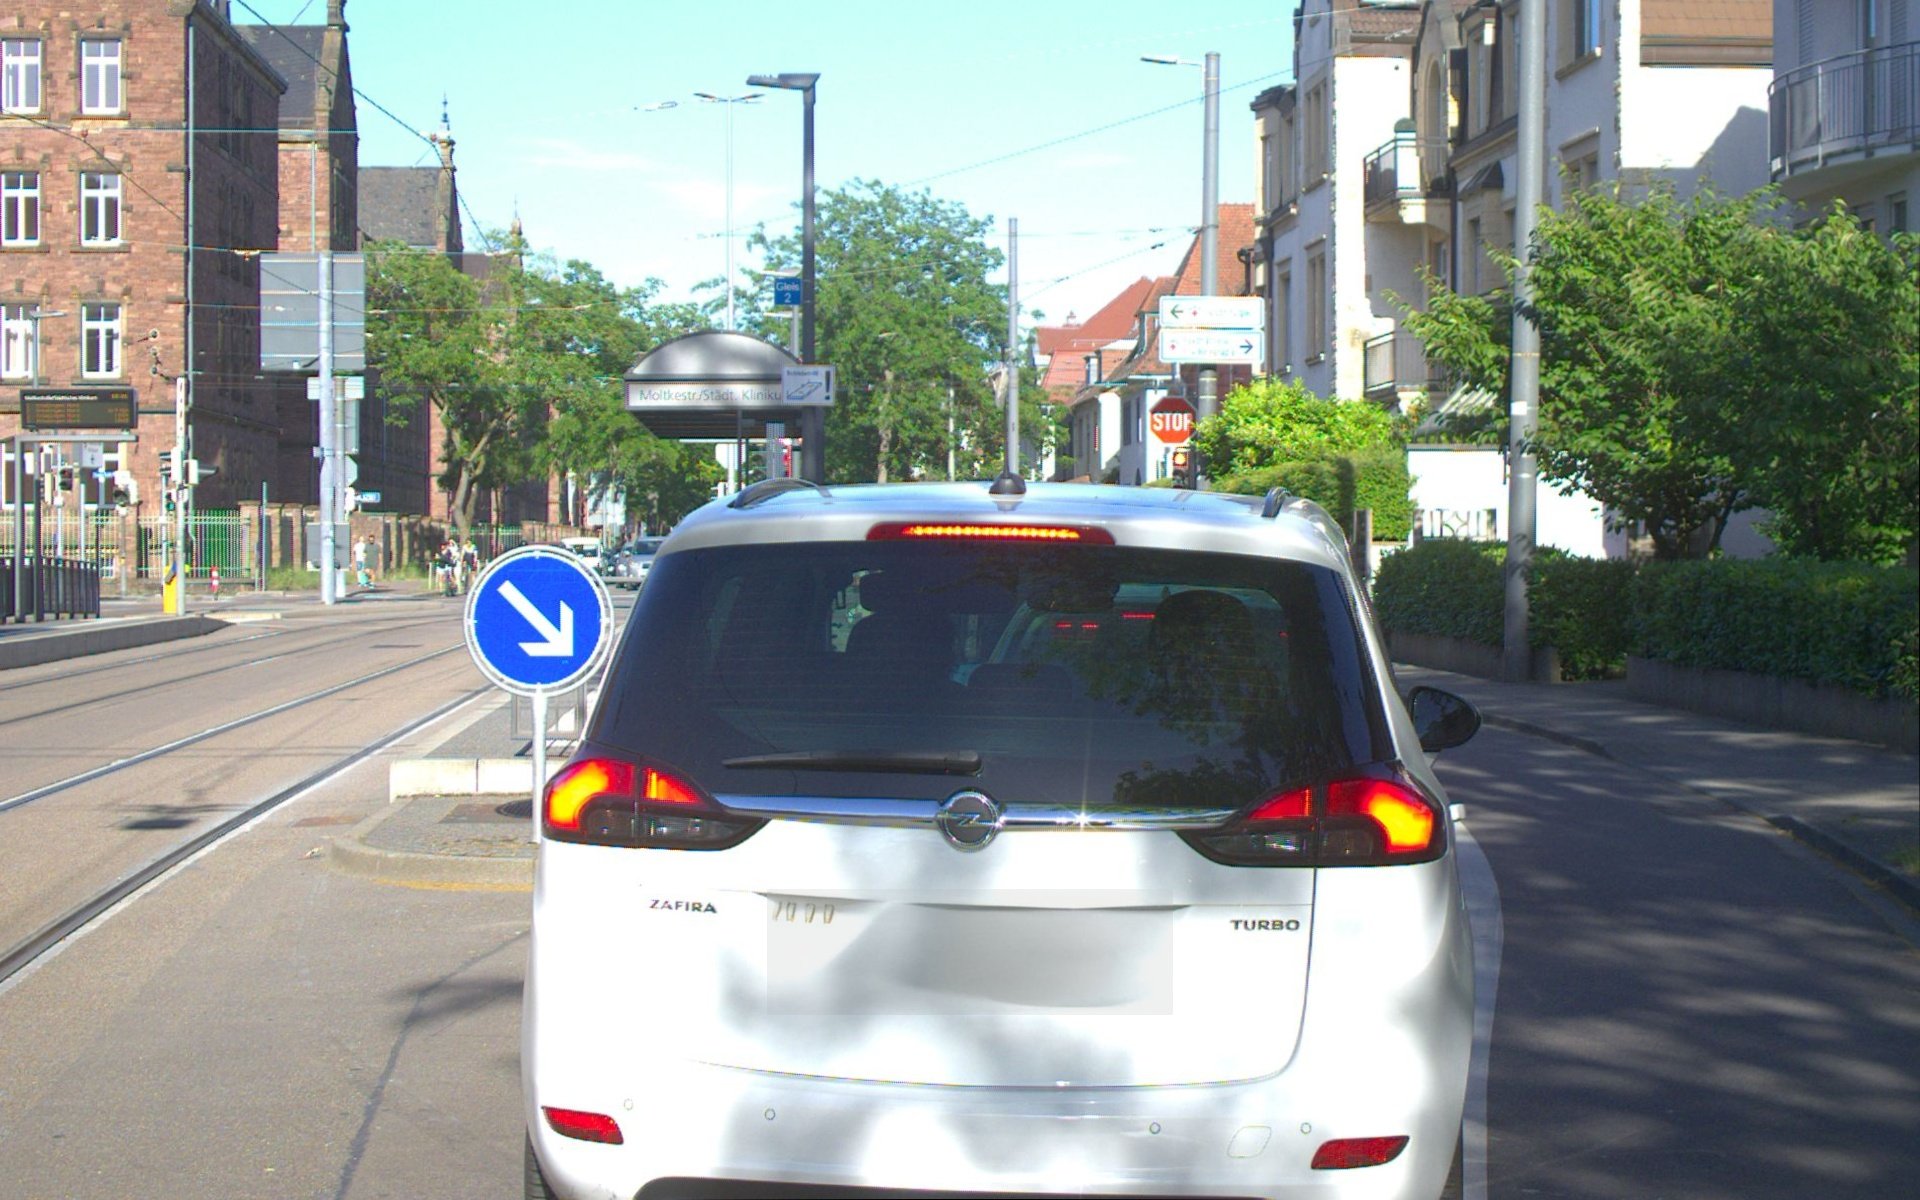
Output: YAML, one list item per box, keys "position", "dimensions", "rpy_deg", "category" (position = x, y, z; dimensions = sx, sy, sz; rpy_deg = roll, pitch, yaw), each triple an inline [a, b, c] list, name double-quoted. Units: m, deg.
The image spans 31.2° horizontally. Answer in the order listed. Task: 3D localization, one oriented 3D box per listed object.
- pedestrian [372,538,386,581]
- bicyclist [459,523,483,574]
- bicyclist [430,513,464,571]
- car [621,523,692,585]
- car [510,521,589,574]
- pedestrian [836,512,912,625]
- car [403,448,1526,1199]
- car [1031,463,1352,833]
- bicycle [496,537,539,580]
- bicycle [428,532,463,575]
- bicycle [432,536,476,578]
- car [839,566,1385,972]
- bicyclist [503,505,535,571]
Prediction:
- position: [-19.399, -1.364, 114.827]
  dimensions: [0.361, 1.433, 0.549]
  rpy_deg: [0, 1, -1]
  category: "pedestrian"
- position: [-15.530, -1.644, 109.244]
  dimensions: [0.702, 1.601, 0.657]
  rpy_deg: [0, 1, -3]
  category: "bicyclist"
- position: [-15.386, -1.724, 103.083]
  dimensions: [0.943, 1.728, 0.861]
  rpy_deg: [0, 1, -3]
  category: "bicyclist"
- position: [-9.464, -1.431, 107.441]
  dimensions: [1.993, 1.907, 4.000]
  rpy_deg: [0, 0, -2]
  category: "car"
- position: [-13.579, -1.742, 113.918]
  dimensions: [1.993, 1.716, 4.000]
  rpy_deg: [0, 1, 2]
  category: "car"
- position: [-1.560, -0.562, 62.017]
  dimensions: [1.155, 2.007, 1.120]
  rpy_deg: [0, 0, -12]
  category: "pedestrian"
- position: [0.190, 0.580, 7.885]
  dimensions: [1.893, 1.605, 4.228]
  rpy_deg: [0, -1, 5]
  category: "car"
- position: [1.478, 0.229, 20.686]
  dimensions: [1.709, 2.007, 3.905]
  rpy_deg: [0, 1, 7]
  category: "car"
- position: [-13.593, -1.285, 105.683]
  dimensions: [1.148, 1.292, 2.861]
  rpy_deg: [0, 1, -4]
  category: "bicycle"
- position: [-15.383, -1.394, 102.799]
  dimensions: [0.821, 1.292, 2.678]
  rpy_deg: [0, 1, -4]
  category: "bicycle"
- position: [-15.796, -1.362, 107.422]
  dimensions: [1.148, 1.292, 2.861]
  rpy_deg: [0, 1, -4]
  category: "bicycle"
- position: [0.788, 0.595, 14.549]
  dimensions: [1.994, 1.437, 3.999]
  rpy_deg: [0, 1, 7]
  category: "car"
- position: [-13.561, -1.903, 105.671]
  dimensions: [0.950, 2.007, 0.824]
  rpy_deg: [0, 1, -6]
  category: "bicyclist"
